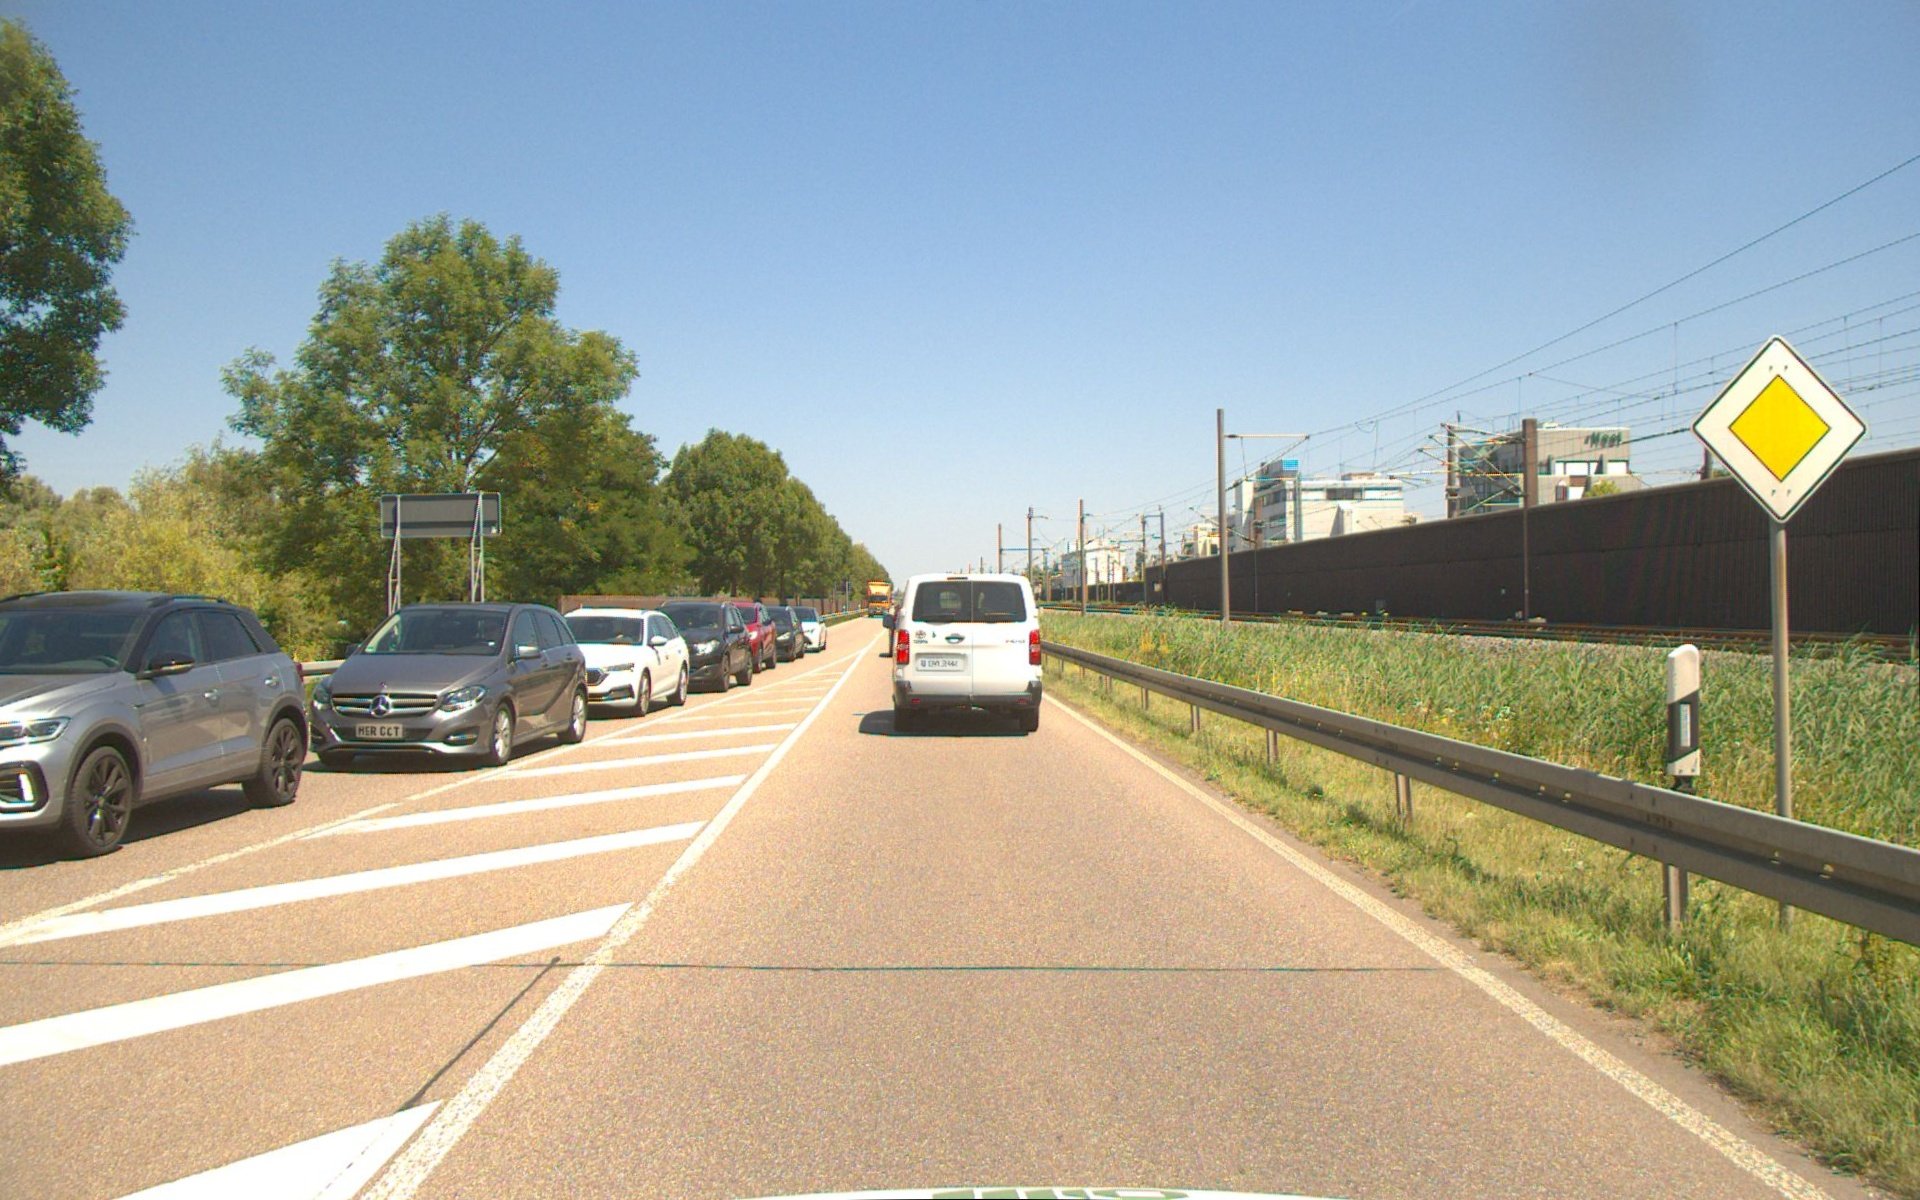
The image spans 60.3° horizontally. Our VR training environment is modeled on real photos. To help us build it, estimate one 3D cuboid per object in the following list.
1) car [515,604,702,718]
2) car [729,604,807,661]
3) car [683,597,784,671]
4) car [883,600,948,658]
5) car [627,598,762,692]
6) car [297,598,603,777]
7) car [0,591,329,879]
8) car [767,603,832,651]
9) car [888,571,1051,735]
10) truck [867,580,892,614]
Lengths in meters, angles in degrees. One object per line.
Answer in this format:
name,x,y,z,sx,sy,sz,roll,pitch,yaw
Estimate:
car,-5.041,0.816,24.357,1.619,1.504,4.631,0,0,2
car,-5.359,0.880,46.612,1.651,1.485,4.615,1,0,0
car,-5.347,0.761,39.503,1.719,1.660,4.280,0,0,1
car,-1.400,0.864,50.654,1.868,1.678,4.138,1,0,-3
car,-4.904,0.784,31.091,1.681,1.617,4.535,0,0,2
car,-5.036,0.780,16.976,1.590,1.564,4.385,-1,0,2
car,-5.908,0.750,11.187,1.677,1.589,4.154,0,0,0
car,-5.213,0.850,54.162,1.651,1.485,4.615,1,0,0
car,0.033,0.637,21.805,1.906,1.914,4.879,0,0,-2
truck,-9.258,-0.297,191.779,2.736,3.907,9.320,0,0,-2
